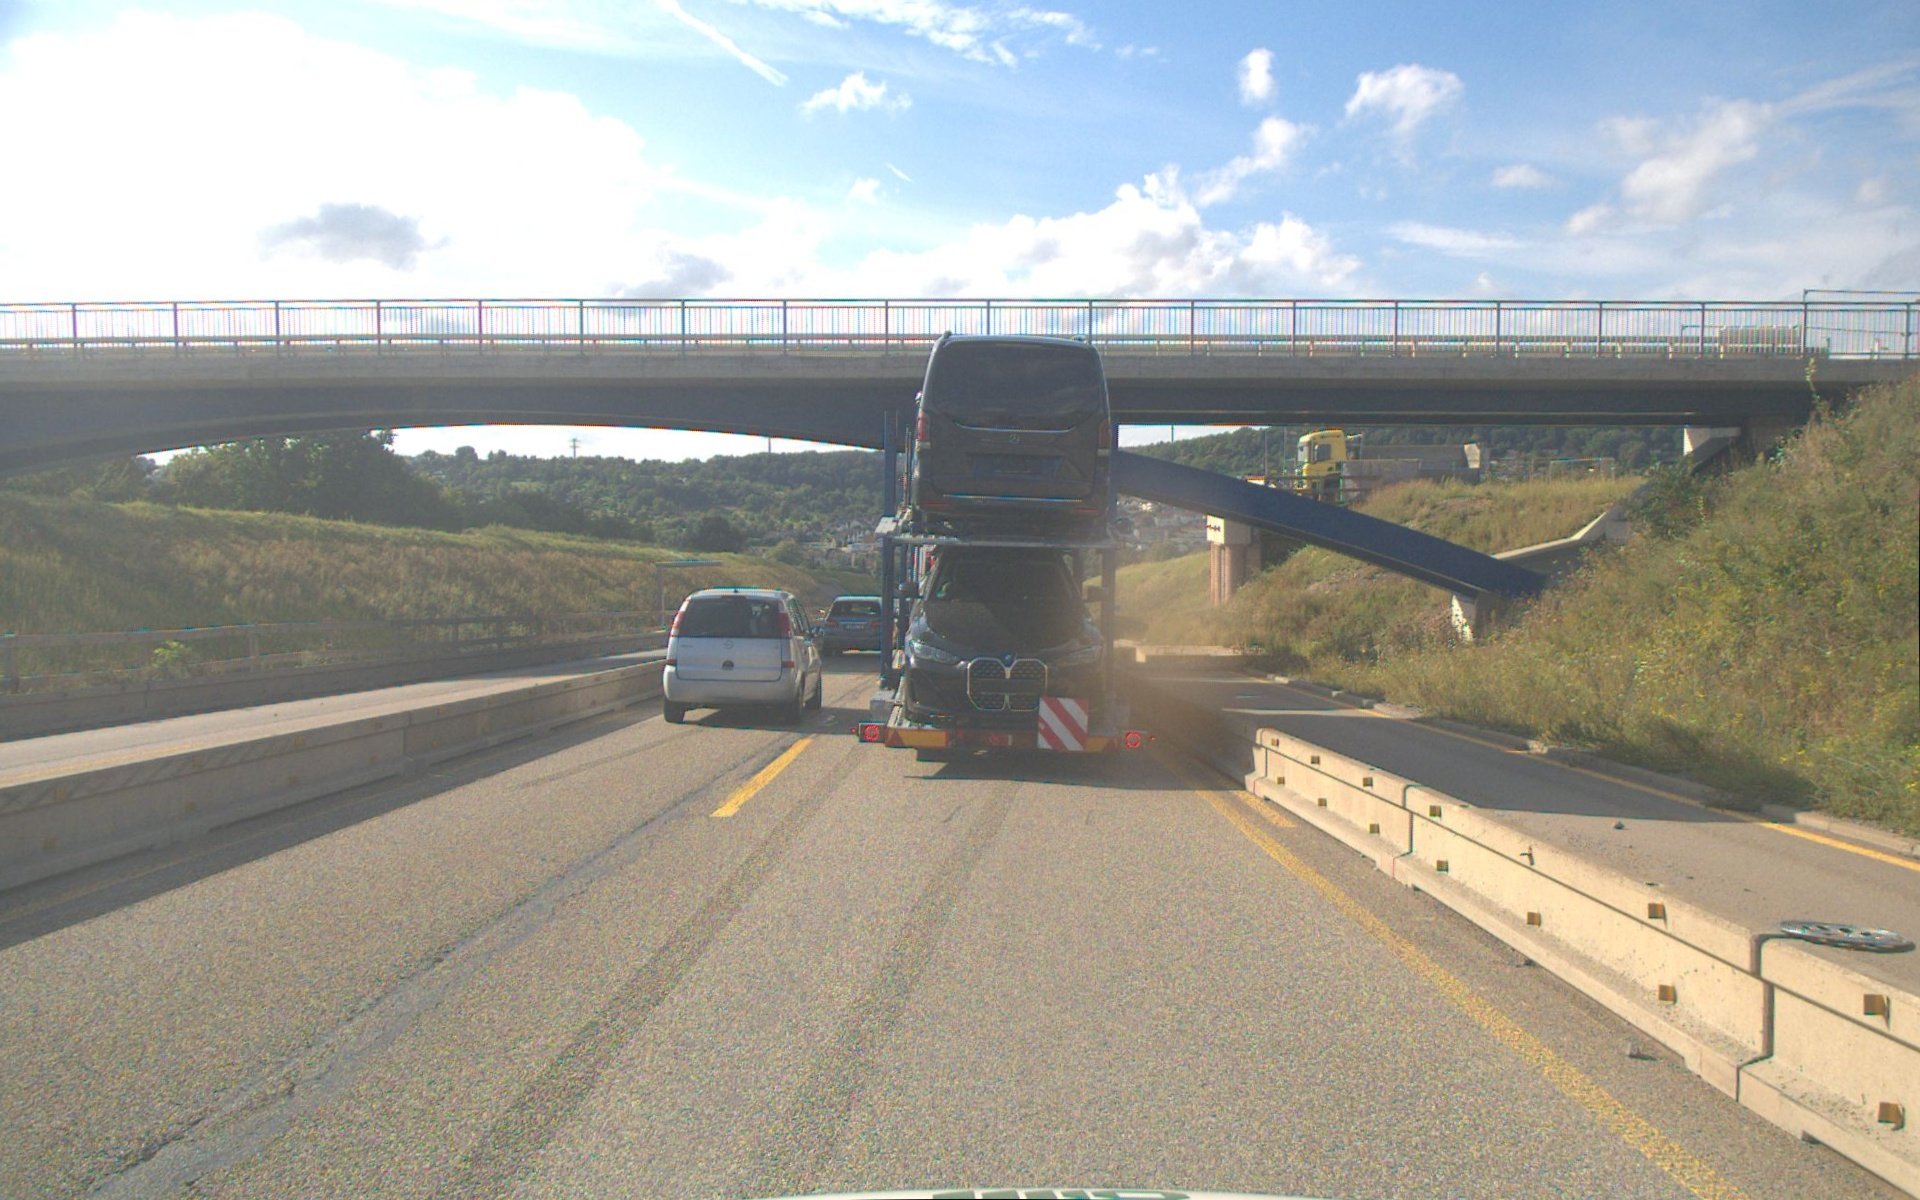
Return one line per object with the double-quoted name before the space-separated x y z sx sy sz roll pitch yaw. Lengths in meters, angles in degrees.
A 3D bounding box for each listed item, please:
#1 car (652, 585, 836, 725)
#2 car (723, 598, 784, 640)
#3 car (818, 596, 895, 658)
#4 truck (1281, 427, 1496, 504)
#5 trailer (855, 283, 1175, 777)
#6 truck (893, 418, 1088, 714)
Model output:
"car" -2.675 0.627 21.513 1.759 1.624 4.743 0 0 0
"car" -8.113 0.715 65.325 1.786 1.518 4.218 -2 0 0
"car" -2.710 0.682 43.984 1.759 1.557 4.295 0 0 0
"truck" 19.476 -6.116 75.548 9.072 3.284 2.960 0 0 1
"trailer" 0.447 -0.567 19.472 2.653 4.099 11.418 0 0 0
"truck" 0.433 -0.455 25.356 2.623 3.991 6.027 0 0 0
